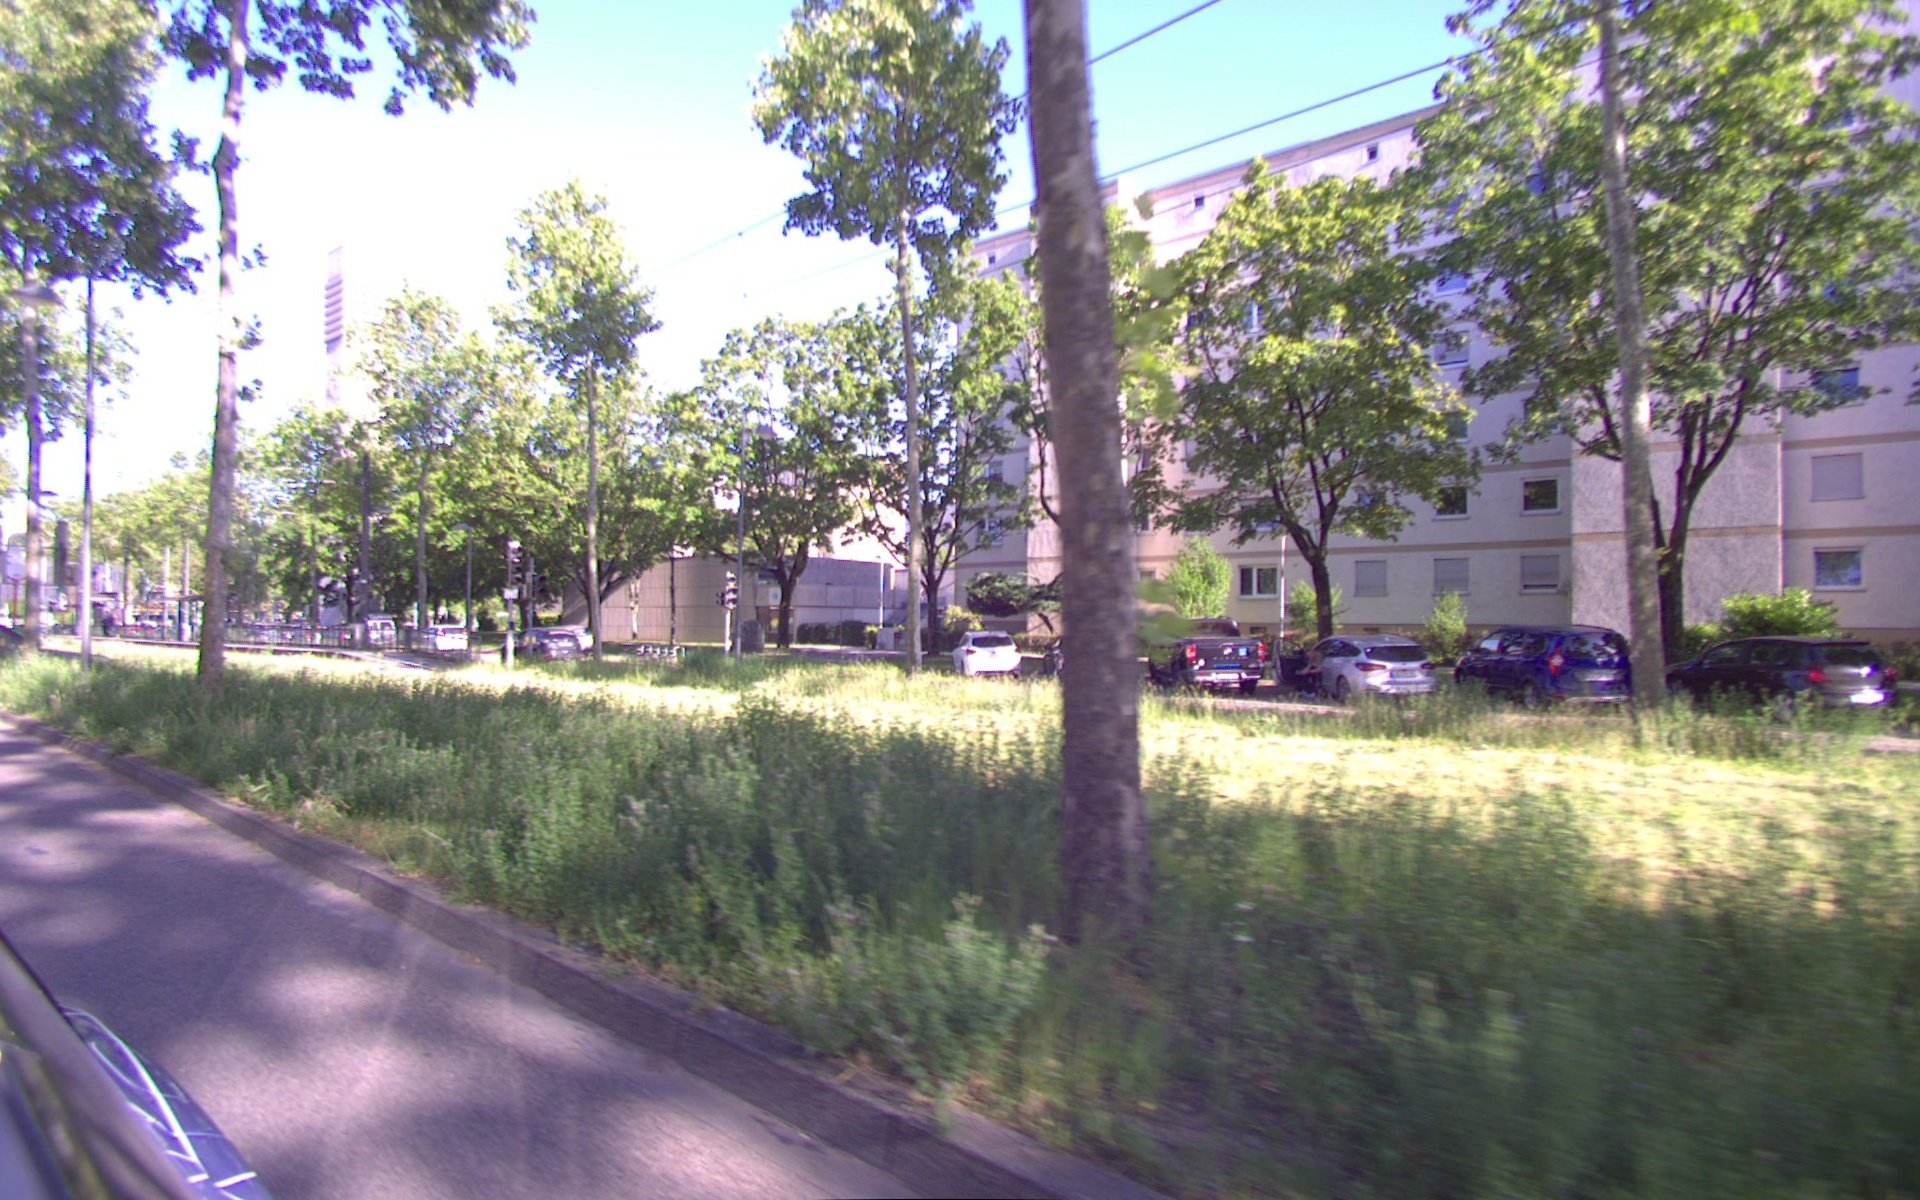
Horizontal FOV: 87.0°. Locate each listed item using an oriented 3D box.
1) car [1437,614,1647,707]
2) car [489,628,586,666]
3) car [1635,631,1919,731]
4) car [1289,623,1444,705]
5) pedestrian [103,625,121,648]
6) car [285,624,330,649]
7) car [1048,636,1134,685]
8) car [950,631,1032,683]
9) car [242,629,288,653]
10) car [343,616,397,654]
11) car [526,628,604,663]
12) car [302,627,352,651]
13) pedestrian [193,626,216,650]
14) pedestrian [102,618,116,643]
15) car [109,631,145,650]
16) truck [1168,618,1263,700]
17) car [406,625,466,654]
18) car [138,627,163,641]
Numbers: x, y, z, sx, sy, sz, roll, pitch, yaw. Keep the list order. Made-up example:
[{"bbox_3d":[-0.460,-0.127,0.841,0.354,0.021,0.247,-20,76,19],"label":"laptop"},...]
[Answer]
[{"bbox_3d":[11.770,1.201,20.824,1.626,1.658,4.089,-2,-2,-5],"label":"car"},{"bbox_3d":[-16.538,1.800,39.554,4.168,1.400,1.971,-2,-3,43],"label":"car"},{"bbox_3d":[14.613,1.373,18.339,1.626,1.487,4.090,-4,-2,-6],"label":"car"},{"bbox_3d":[8.831,1.349,22.393,1.627,1.658,4.086,0,-2,-2],"label":"car"},{"bbox_3d":[-61.804,2.643,73.770,0.754,1.702,0.873,-2,-2,42],"label":"pedestrian"},{"bbox_3d":[-45.128,2.512,69.977,3.928,1.648,1.577,-2,-3,41],"label":"car"},{"bbox_3d":[3.524,1.630,27.922,1.814,1.256,3.825,0,-2,-1],"label":"car"},{"bbox_3d":[0.855,1.678,30.402,1.811,1.446,3.832,1,-2,-8],"label":"car"},{"bbox_3d":[-46.400,2.750,67.537,3.934,1.557,1.695,-2,-3,44],"label":"car"},{"bbox_3d":[-36.258,2.135,62.177,3.931,2.279,1.696,-2,-3,41],"label":"car"},{"bbox_3d":[-18.304,2.094,46.780,4.200,1.557,1.695,-2,-3,43],"label":"car"},{"bbox_3d":[-40.392,2.501,64.562,4.018,1.500,1.577,-2,-3,41],"label":"car"},{"bbox_3d":[-41.891,2.110,56.102,0.825,1.270,0.802,0,-1,-20],"label":"pedestrian"},{"bbox_3d":[-62.422,2.236,74.212,0.636,1.881,0.712,-2,-2,42],"label":"pedestrian"},{"bbox_3d":[-67.792,3.287,82.373,3.534,1.438,1.589,-1,-3,40],"label":"car"},{"bbox_3d":[6.166,1.349,24.785,1.631,1.788,4.078,0,0,5],"label":"truck"},{"bbox_3d":[-28.349,2.127,54.690,3.934,1.557,1.694,-2,-3,44],"label":"car"},{"bbox_3d":[-76.924,3.224,96.165,3.374,1.251,1.249,-2,-3,41],"label":"car"}]
